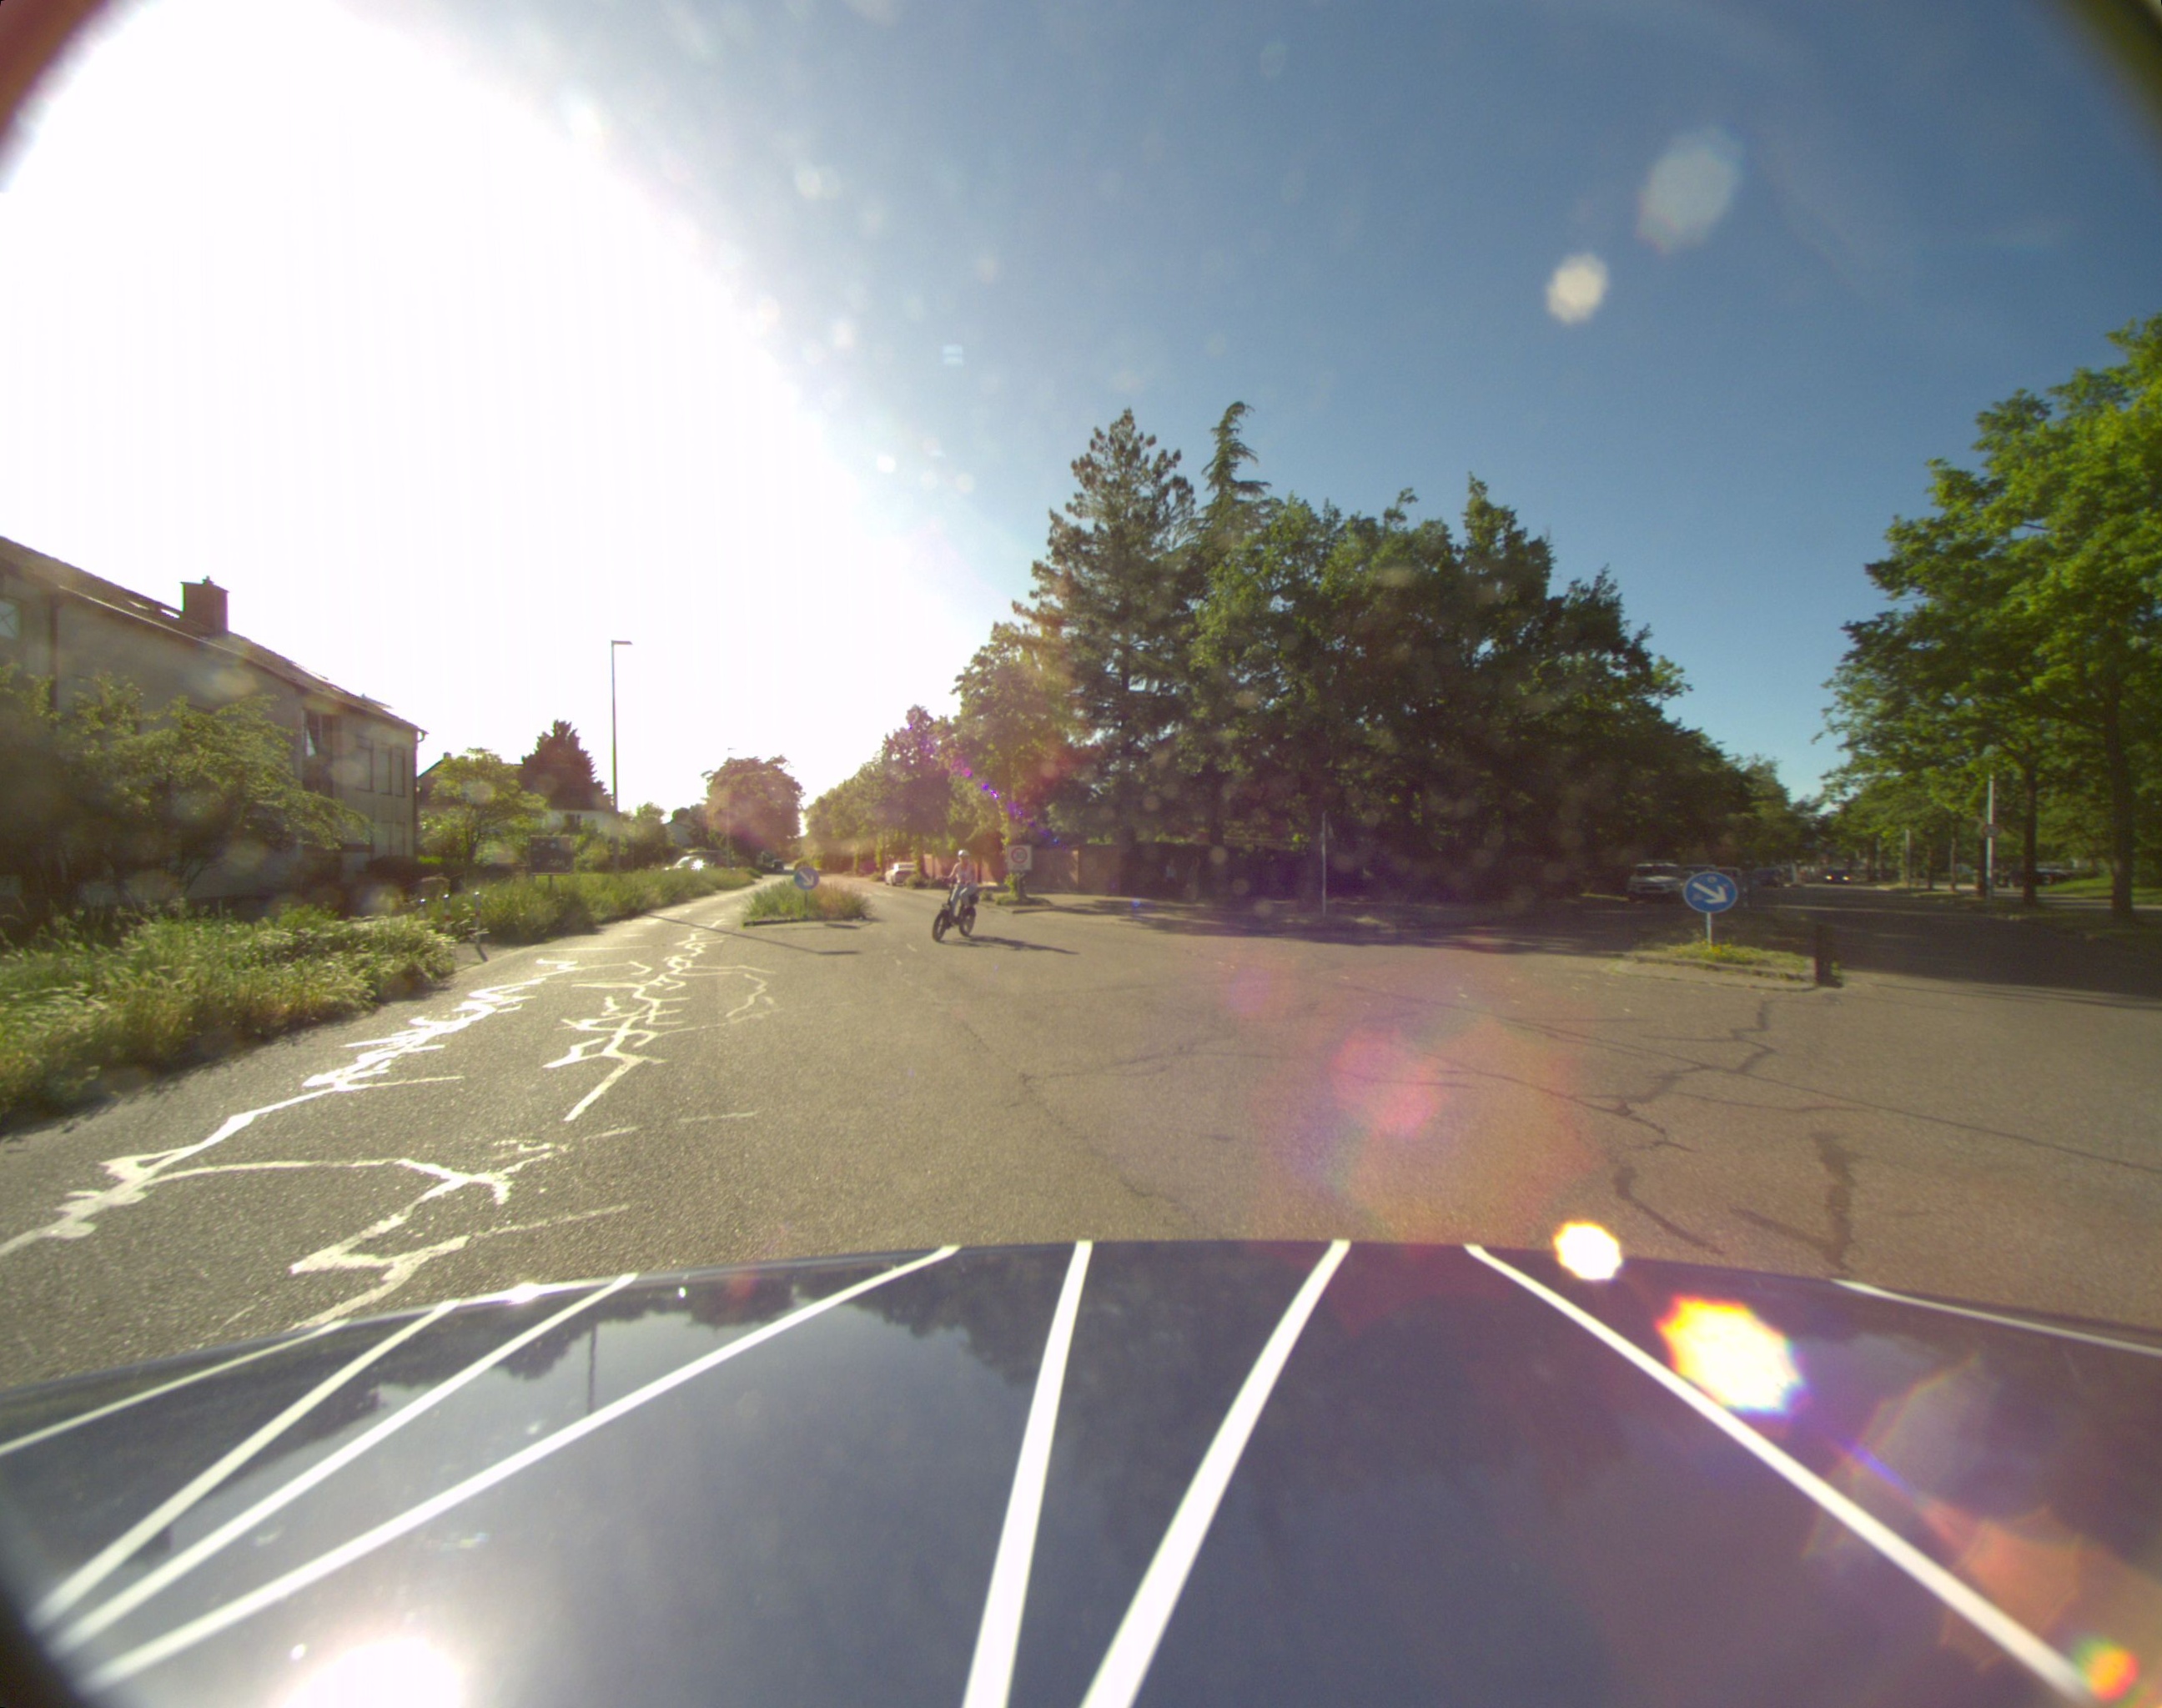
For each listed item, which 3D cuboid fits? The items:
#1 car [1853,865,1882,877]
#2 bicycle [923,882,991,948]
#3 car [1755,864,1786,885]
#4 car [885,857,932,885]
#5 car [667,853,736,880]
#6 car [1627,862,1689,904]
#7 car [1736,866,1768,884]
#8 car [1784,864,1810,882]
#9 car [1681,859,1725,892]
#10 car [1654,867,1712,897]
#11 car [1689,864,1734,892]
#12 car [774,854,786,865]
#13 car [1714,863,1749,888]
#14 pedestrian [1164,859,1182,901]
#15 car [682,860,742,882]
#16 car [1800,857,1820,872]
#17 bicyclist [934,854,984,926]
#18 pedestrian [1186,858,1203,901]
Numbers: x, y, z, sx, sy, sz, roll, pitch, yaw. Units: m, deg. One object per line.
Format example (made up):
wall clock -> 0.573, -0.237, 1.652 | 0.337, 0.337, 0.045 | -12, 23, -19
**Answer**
car -> 97.693, 2.126, 94.397 | 1.994, 1.359, 4.009 | 1, 0, 39
bicycle -> -2.371, 1.141, 14.764 | 0.457, 1.138, 1.901 | 1, 0, 19
car -> 56.668, 1.675, 62.406 | 4.100, 1.643, 1.497 | 1, -1, -42
car -> -10.857, 1.002, 47.643 | 2.003, 1.649, 3.991 | 0, 0, -27
car -> -24.996, 0.768, 50.117 | 1.743, 1.707, 3.658 | 1, 0, 33
car -> 26.043, 1.258, 34.220 | 1.750, 1.738, 4.644 | -1, 0, 43
car -> 51.778, 1.616, 58.598 | 3.474, 1.351, 1.497 | 1, -1, -42
car -> 64.372, 1.693, 68.309 | 3.728, 1.643, 1.447 | 1, -1, -42
car -> 34.475, 1.177, 42.082 | 3.810, 1.744, 1.497 | 1, -1, -44
car -> 30.381, 1.376, 38.293 | 4.624, 1.435, 1.719 | 1, -2, -44
car -> 39.465, 1.464, 47.538 | 3.761, 1.629, 1.768 | 1, -1, -44
car -> -54.291, 1.001, 137.048 | 2.002, 1.805, 3.992 | 0, 0, -21
car -> 44.547, 1.457, 51.983 | 3.761, 1.629, 1.497 | 1, -1, -44
pedestrian -> 3.370, 0.930, 27.807 | 0.395, 1.511, 0.540 | 1, 1, 44
car -> -25.839, 1.164, 53.255 | 3.402, 1.433, 1.611 | 0, 1, -43
car -> 81.827, 1.185, 85.265 | 3.918, 1.643, 1.419 | 1, -1, -42
bicyclist -> -2.367, 0.682, 14.755 | 0.637, 1.339, 0.839 | 1, 1, 19
pedestrian -> 4.172, 0.933, 27.899 | 0.396, 1.552, 0.537 | 1, 1, -19
